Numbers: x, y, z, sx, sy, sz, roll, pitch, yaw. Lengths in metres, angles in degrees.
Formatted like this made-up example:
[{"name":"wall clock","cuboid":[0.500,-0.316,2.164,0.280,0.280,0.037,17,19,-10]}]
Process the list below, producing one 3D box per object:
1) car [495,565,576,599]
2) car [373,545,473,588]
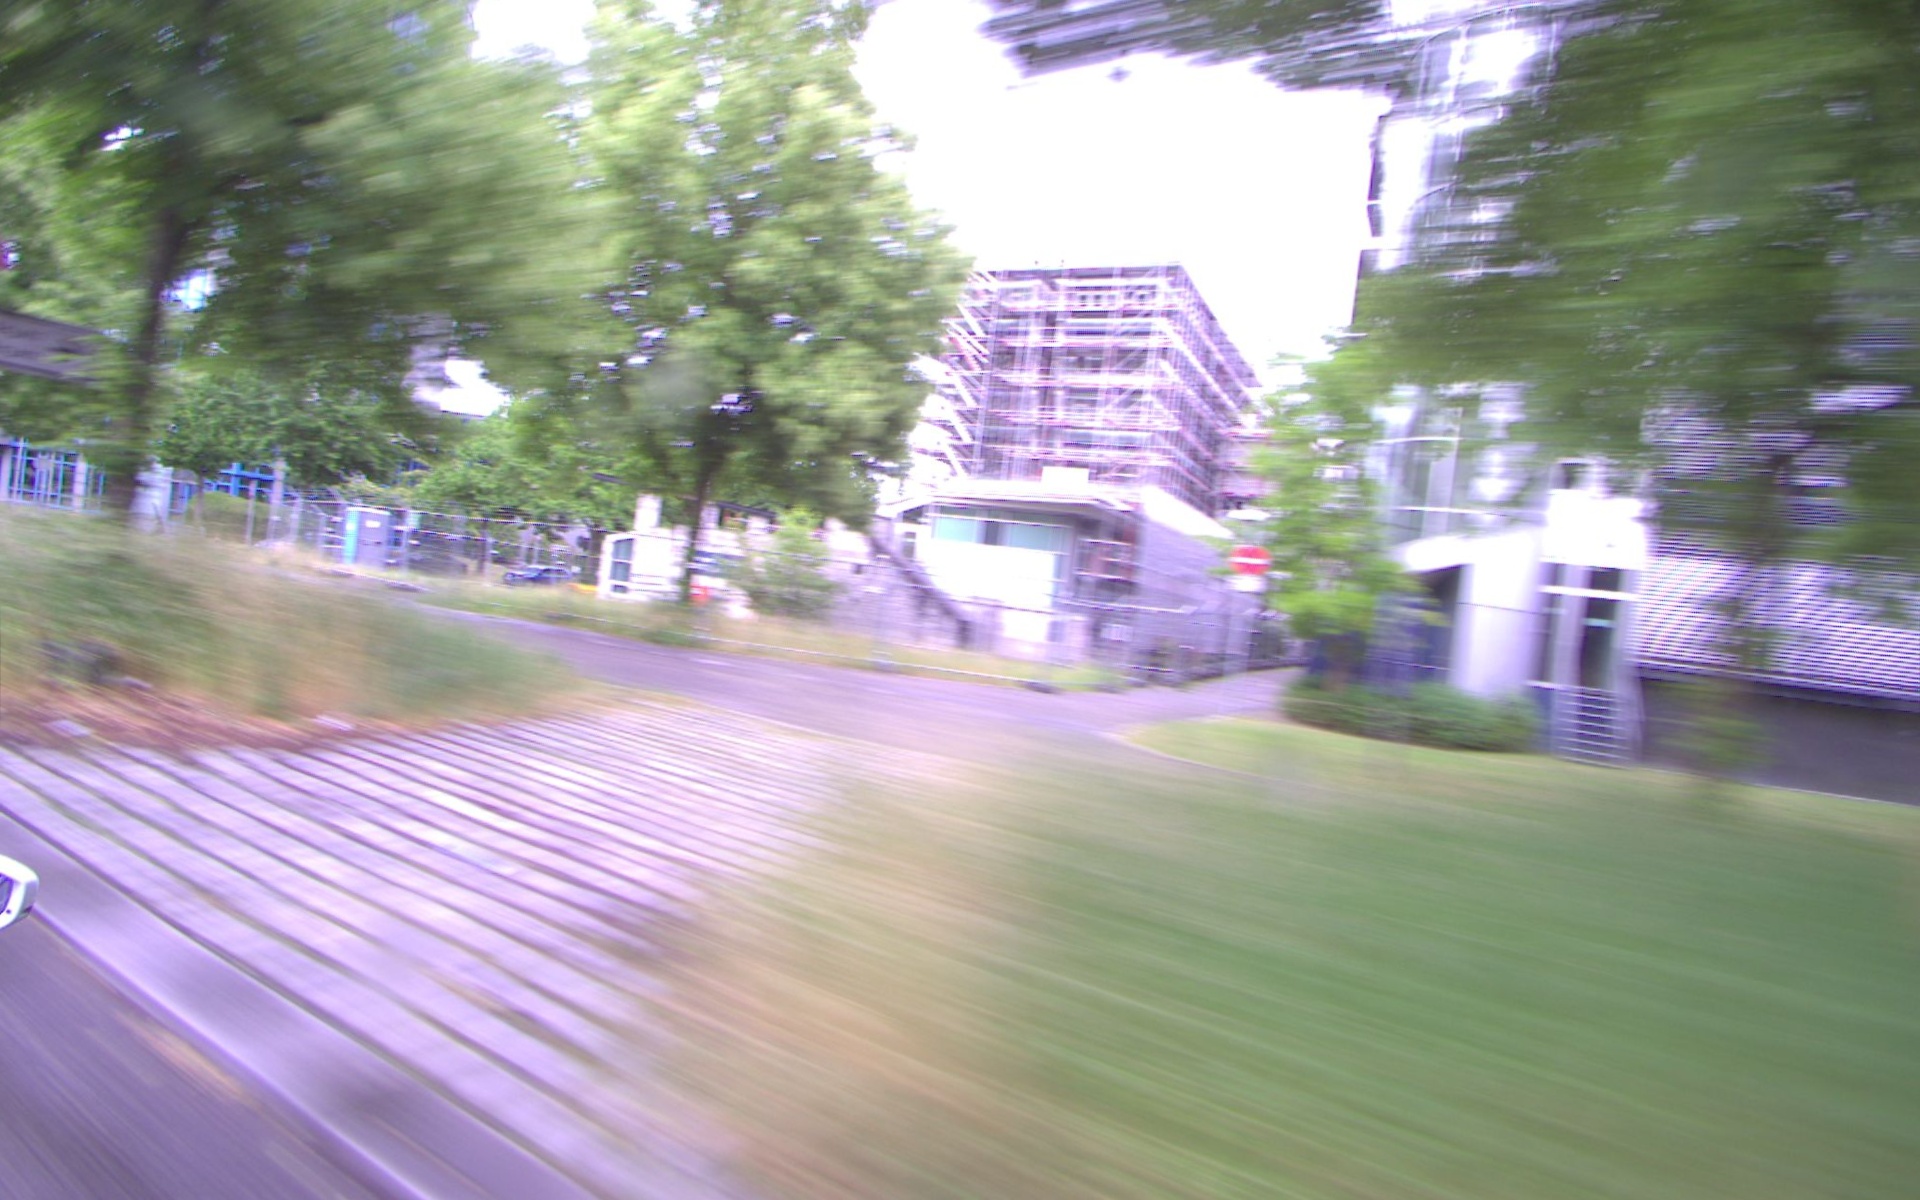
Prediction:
[{"name":"car","cuboid":[-24.724,-1.024,58.698,1.726,1.450,4.107,9,1,25]},{"name":"car","cuboid":[-27.776,-1.728,52.131,1.730,1.598,4.098,9,1,36]}]
